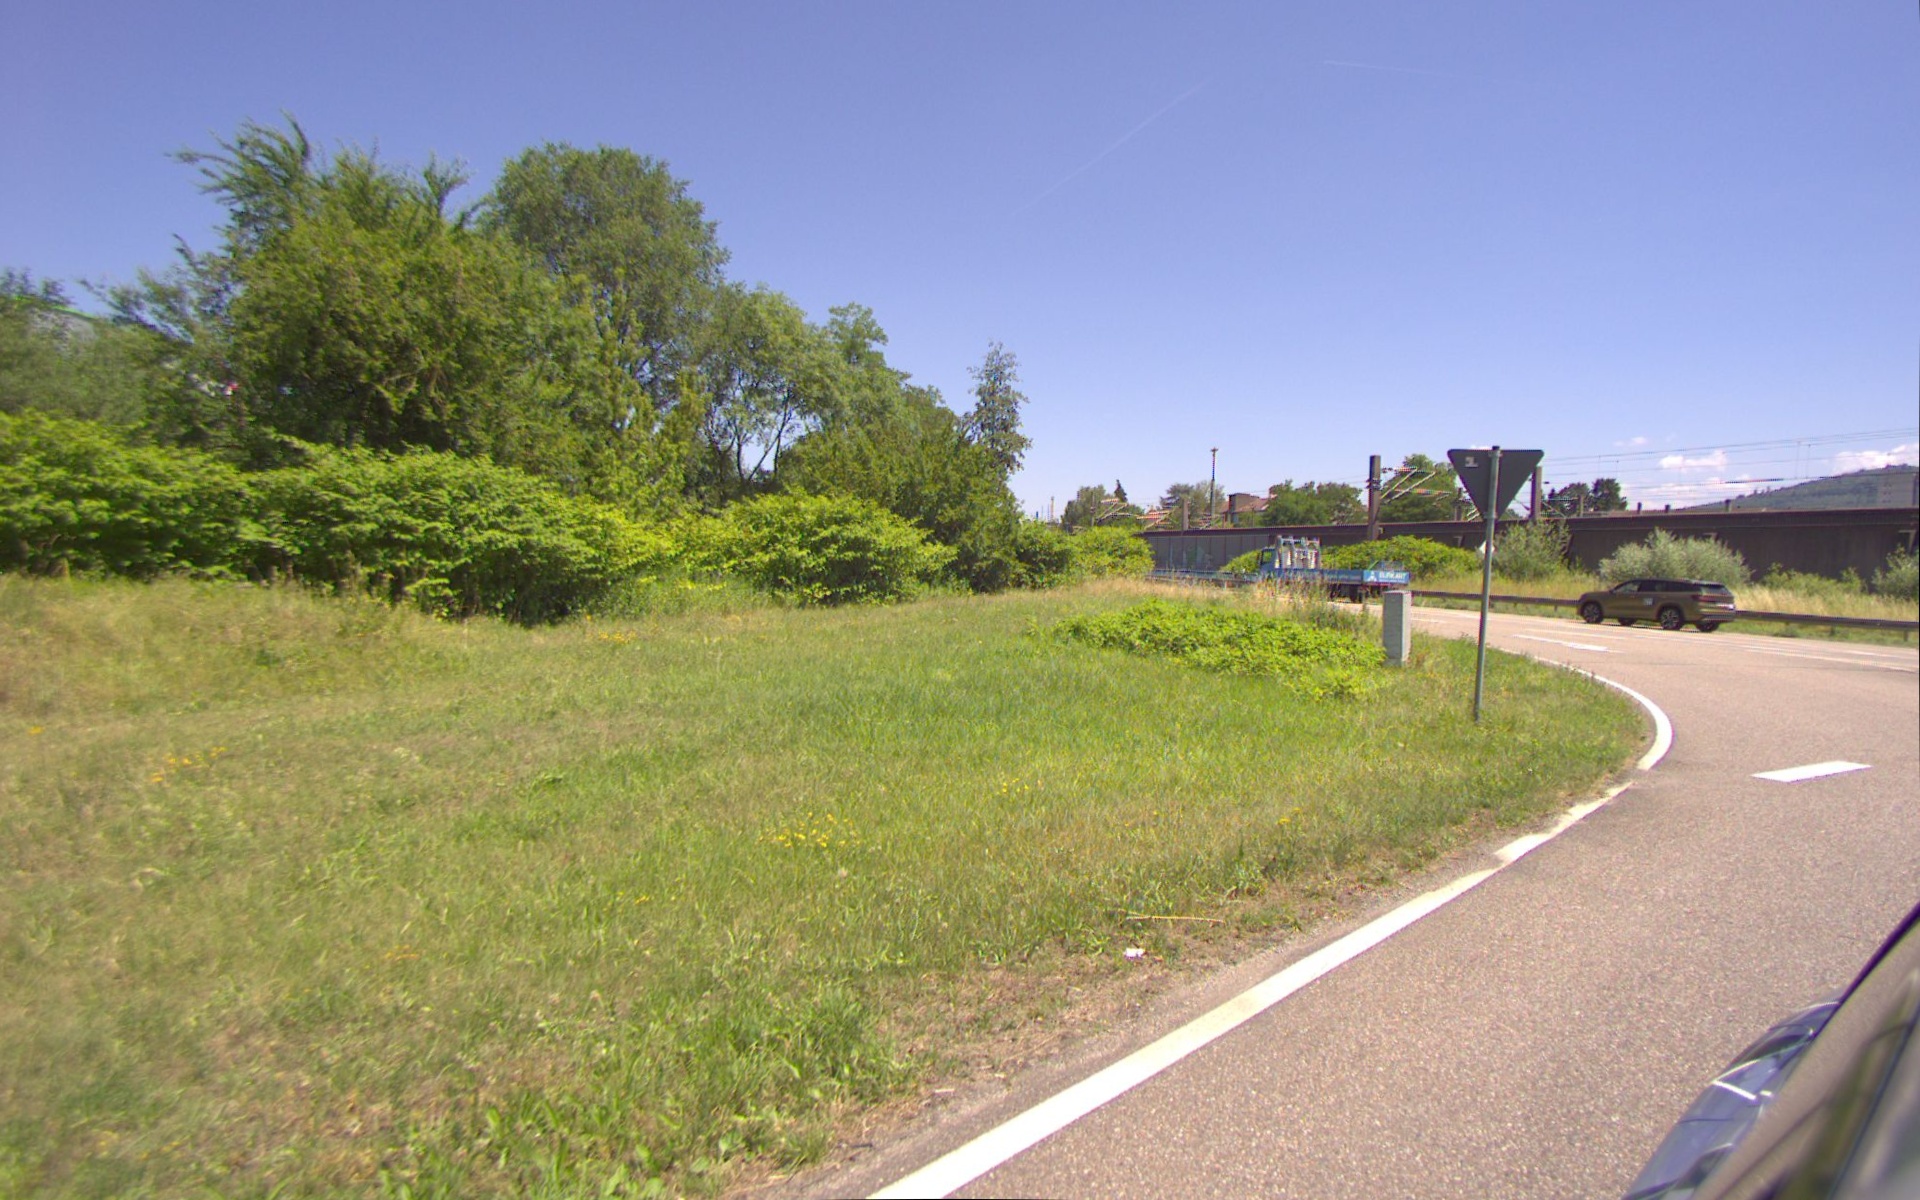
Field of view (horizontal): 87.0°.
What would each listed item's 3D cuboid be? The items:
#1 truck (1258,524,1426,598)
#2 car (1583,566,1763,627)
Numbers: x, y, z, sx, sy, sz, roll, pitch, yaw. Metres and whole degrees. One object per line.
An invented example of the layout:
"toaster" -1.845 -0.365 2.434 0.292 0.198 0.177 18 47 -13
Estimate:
"truck" 18.380 -1.979 49.513 2.861 3.188 8.648 2 3 -17
"car" 23.183 -0.168 33.156 1.669 1.646 4.636 2 3 -18
